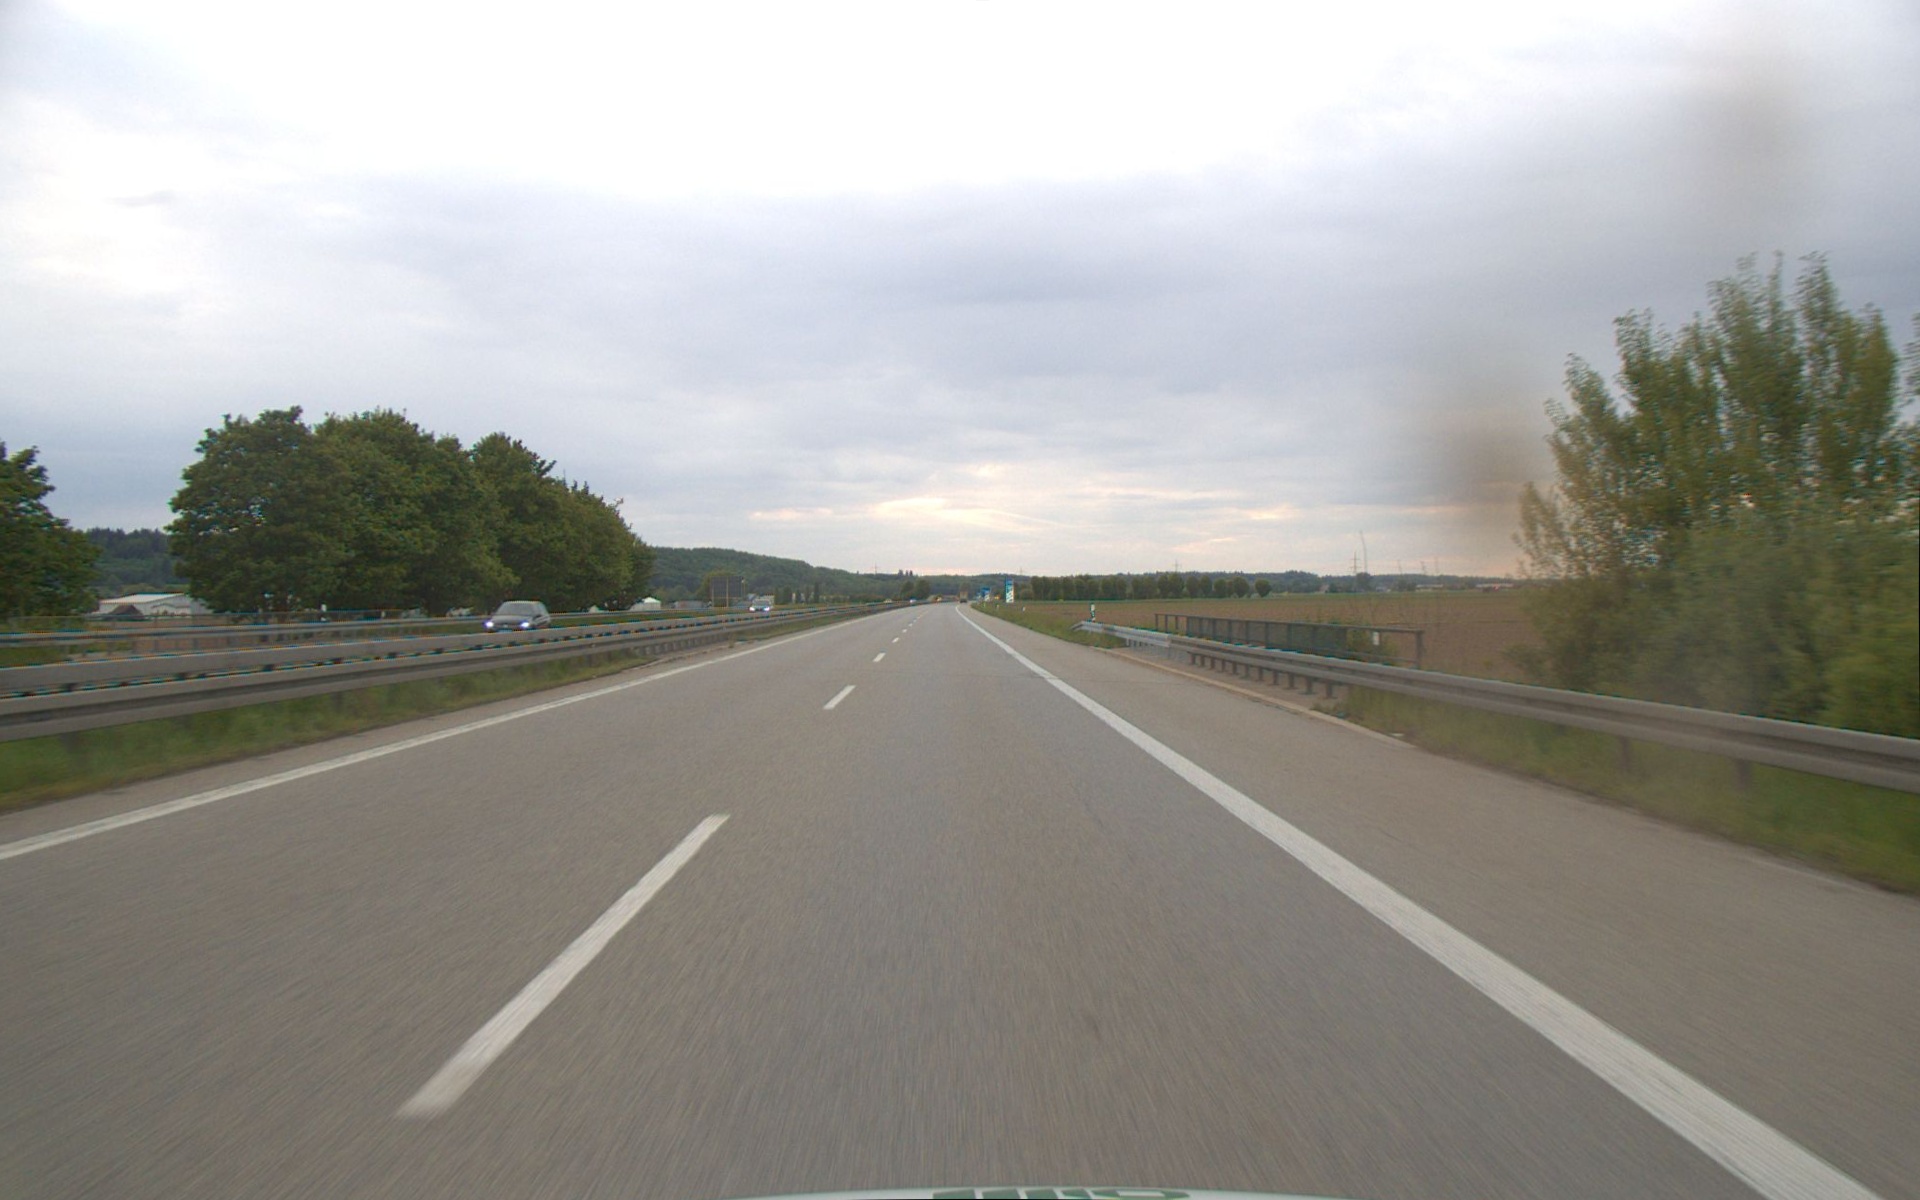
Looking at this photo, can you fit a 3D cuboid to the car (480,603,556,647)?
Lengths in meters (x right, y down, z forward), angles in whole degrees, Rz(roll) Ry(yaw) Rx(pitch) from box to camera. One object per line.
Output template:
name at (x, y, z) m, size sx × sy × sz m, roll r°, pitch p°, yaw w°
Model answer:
car at (-17.230, 0.977, 64.642) m, size 1.781 × 1.589 × 4.522 m, roll 2°, pitch -1°, yaw -1°

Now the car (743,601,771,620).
car at (-18.506, 0.945, 151.105) m, size 1.953 × 1.610 × 4.808 m, roll 1°, pitch 0°, yaw -1°
